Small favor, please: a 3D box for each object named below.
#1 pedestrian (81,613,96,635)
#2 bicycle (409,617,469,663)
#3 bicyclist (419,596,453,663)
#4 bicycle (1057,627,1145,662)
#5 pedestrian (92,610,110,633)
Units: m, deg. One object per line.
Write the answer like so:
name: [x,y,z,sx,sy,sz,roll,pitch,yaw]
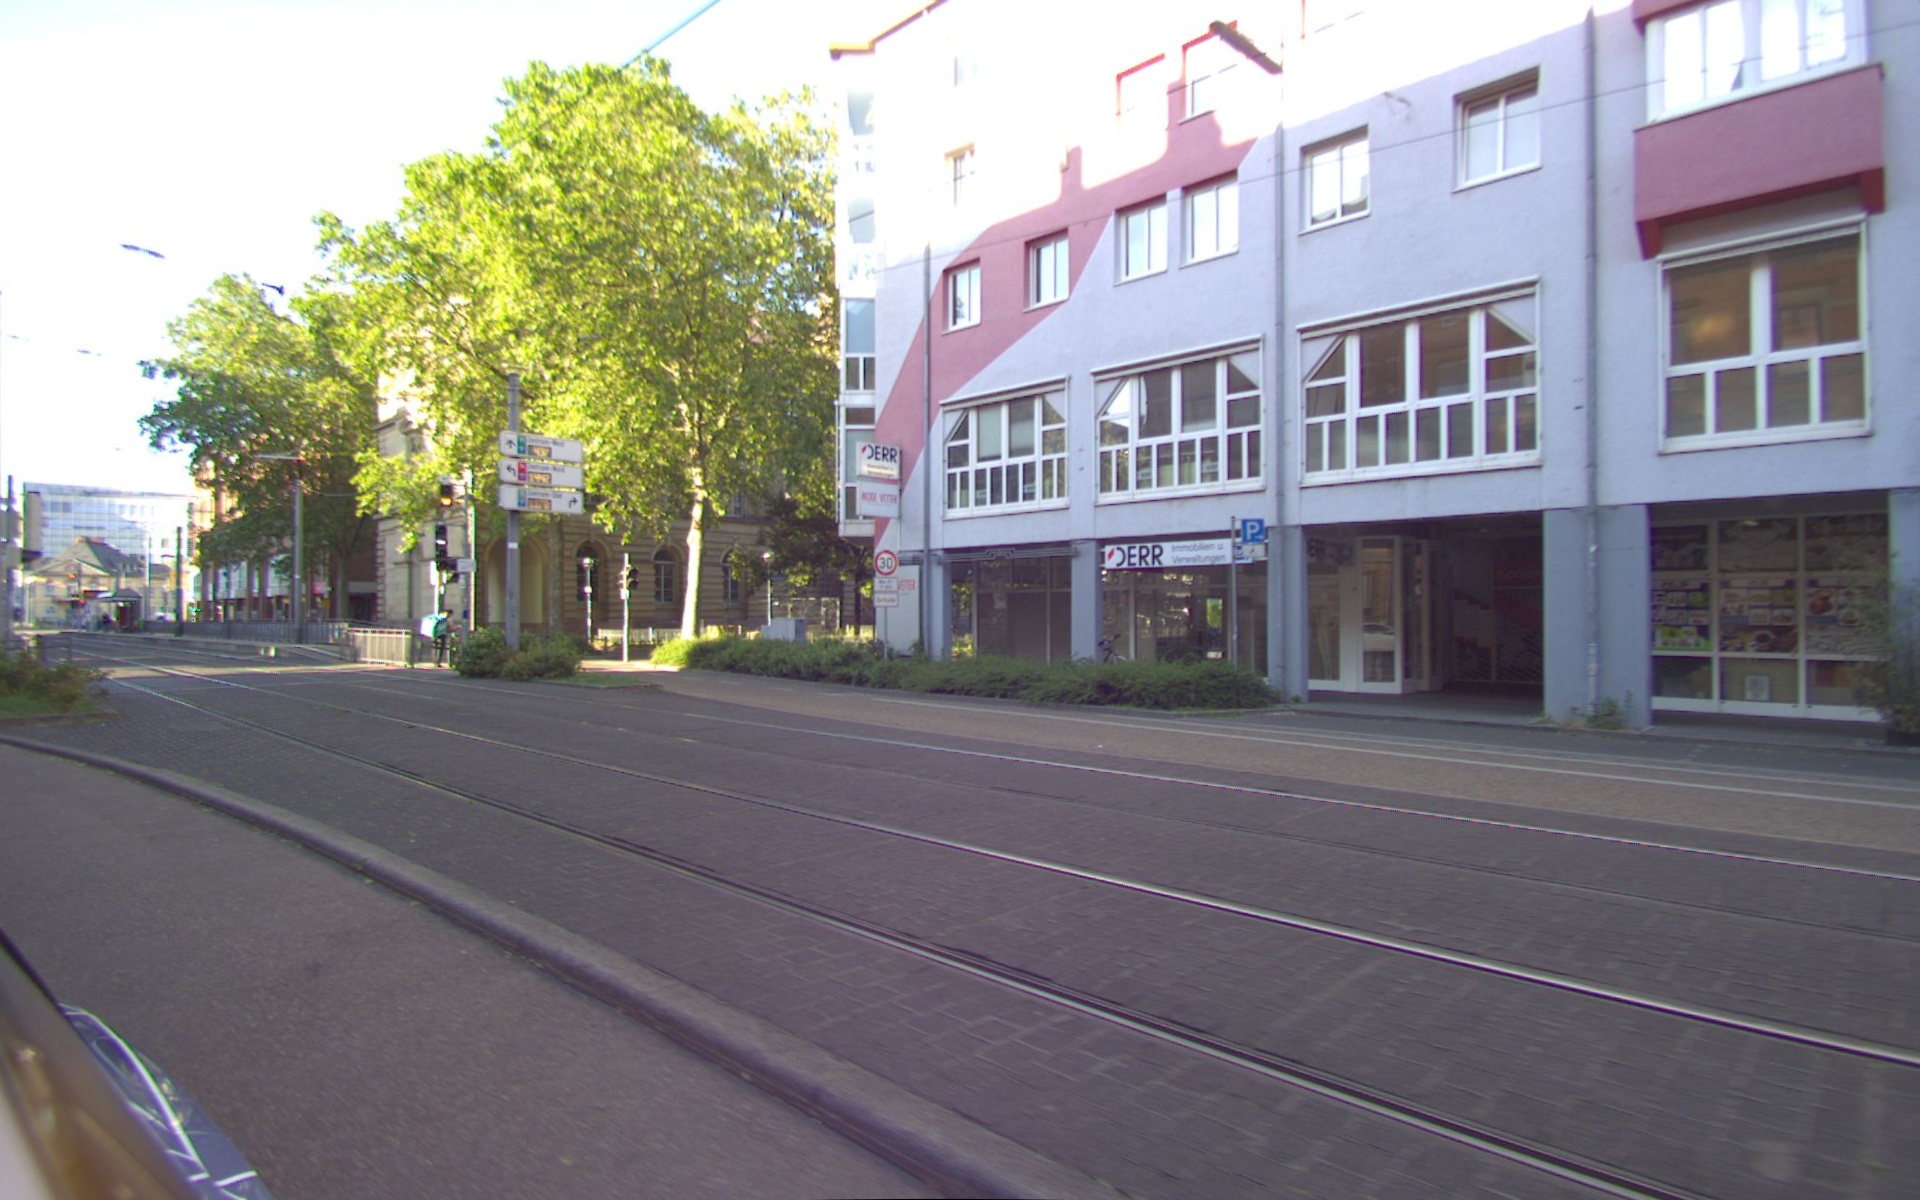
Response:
pedestrian: [-73.488,1.998,85.317,0.847,1.780,0.813,-3,2,-39]
bicycle: [-13.818,1.045,26.899,0.576,1.085,1.899,-2,1,0]
bicyclist: [-13.790,0.770,26.639,0.526,1.725,0.746,-1,-1,-2]
bicycle: [2.856,0.889,20.620,1.808,0.663,0.451,-1,2,39]
pedestrian: [-62.037,1.550,73.065,0.967,1.674,0.901,-1,-1,43]
